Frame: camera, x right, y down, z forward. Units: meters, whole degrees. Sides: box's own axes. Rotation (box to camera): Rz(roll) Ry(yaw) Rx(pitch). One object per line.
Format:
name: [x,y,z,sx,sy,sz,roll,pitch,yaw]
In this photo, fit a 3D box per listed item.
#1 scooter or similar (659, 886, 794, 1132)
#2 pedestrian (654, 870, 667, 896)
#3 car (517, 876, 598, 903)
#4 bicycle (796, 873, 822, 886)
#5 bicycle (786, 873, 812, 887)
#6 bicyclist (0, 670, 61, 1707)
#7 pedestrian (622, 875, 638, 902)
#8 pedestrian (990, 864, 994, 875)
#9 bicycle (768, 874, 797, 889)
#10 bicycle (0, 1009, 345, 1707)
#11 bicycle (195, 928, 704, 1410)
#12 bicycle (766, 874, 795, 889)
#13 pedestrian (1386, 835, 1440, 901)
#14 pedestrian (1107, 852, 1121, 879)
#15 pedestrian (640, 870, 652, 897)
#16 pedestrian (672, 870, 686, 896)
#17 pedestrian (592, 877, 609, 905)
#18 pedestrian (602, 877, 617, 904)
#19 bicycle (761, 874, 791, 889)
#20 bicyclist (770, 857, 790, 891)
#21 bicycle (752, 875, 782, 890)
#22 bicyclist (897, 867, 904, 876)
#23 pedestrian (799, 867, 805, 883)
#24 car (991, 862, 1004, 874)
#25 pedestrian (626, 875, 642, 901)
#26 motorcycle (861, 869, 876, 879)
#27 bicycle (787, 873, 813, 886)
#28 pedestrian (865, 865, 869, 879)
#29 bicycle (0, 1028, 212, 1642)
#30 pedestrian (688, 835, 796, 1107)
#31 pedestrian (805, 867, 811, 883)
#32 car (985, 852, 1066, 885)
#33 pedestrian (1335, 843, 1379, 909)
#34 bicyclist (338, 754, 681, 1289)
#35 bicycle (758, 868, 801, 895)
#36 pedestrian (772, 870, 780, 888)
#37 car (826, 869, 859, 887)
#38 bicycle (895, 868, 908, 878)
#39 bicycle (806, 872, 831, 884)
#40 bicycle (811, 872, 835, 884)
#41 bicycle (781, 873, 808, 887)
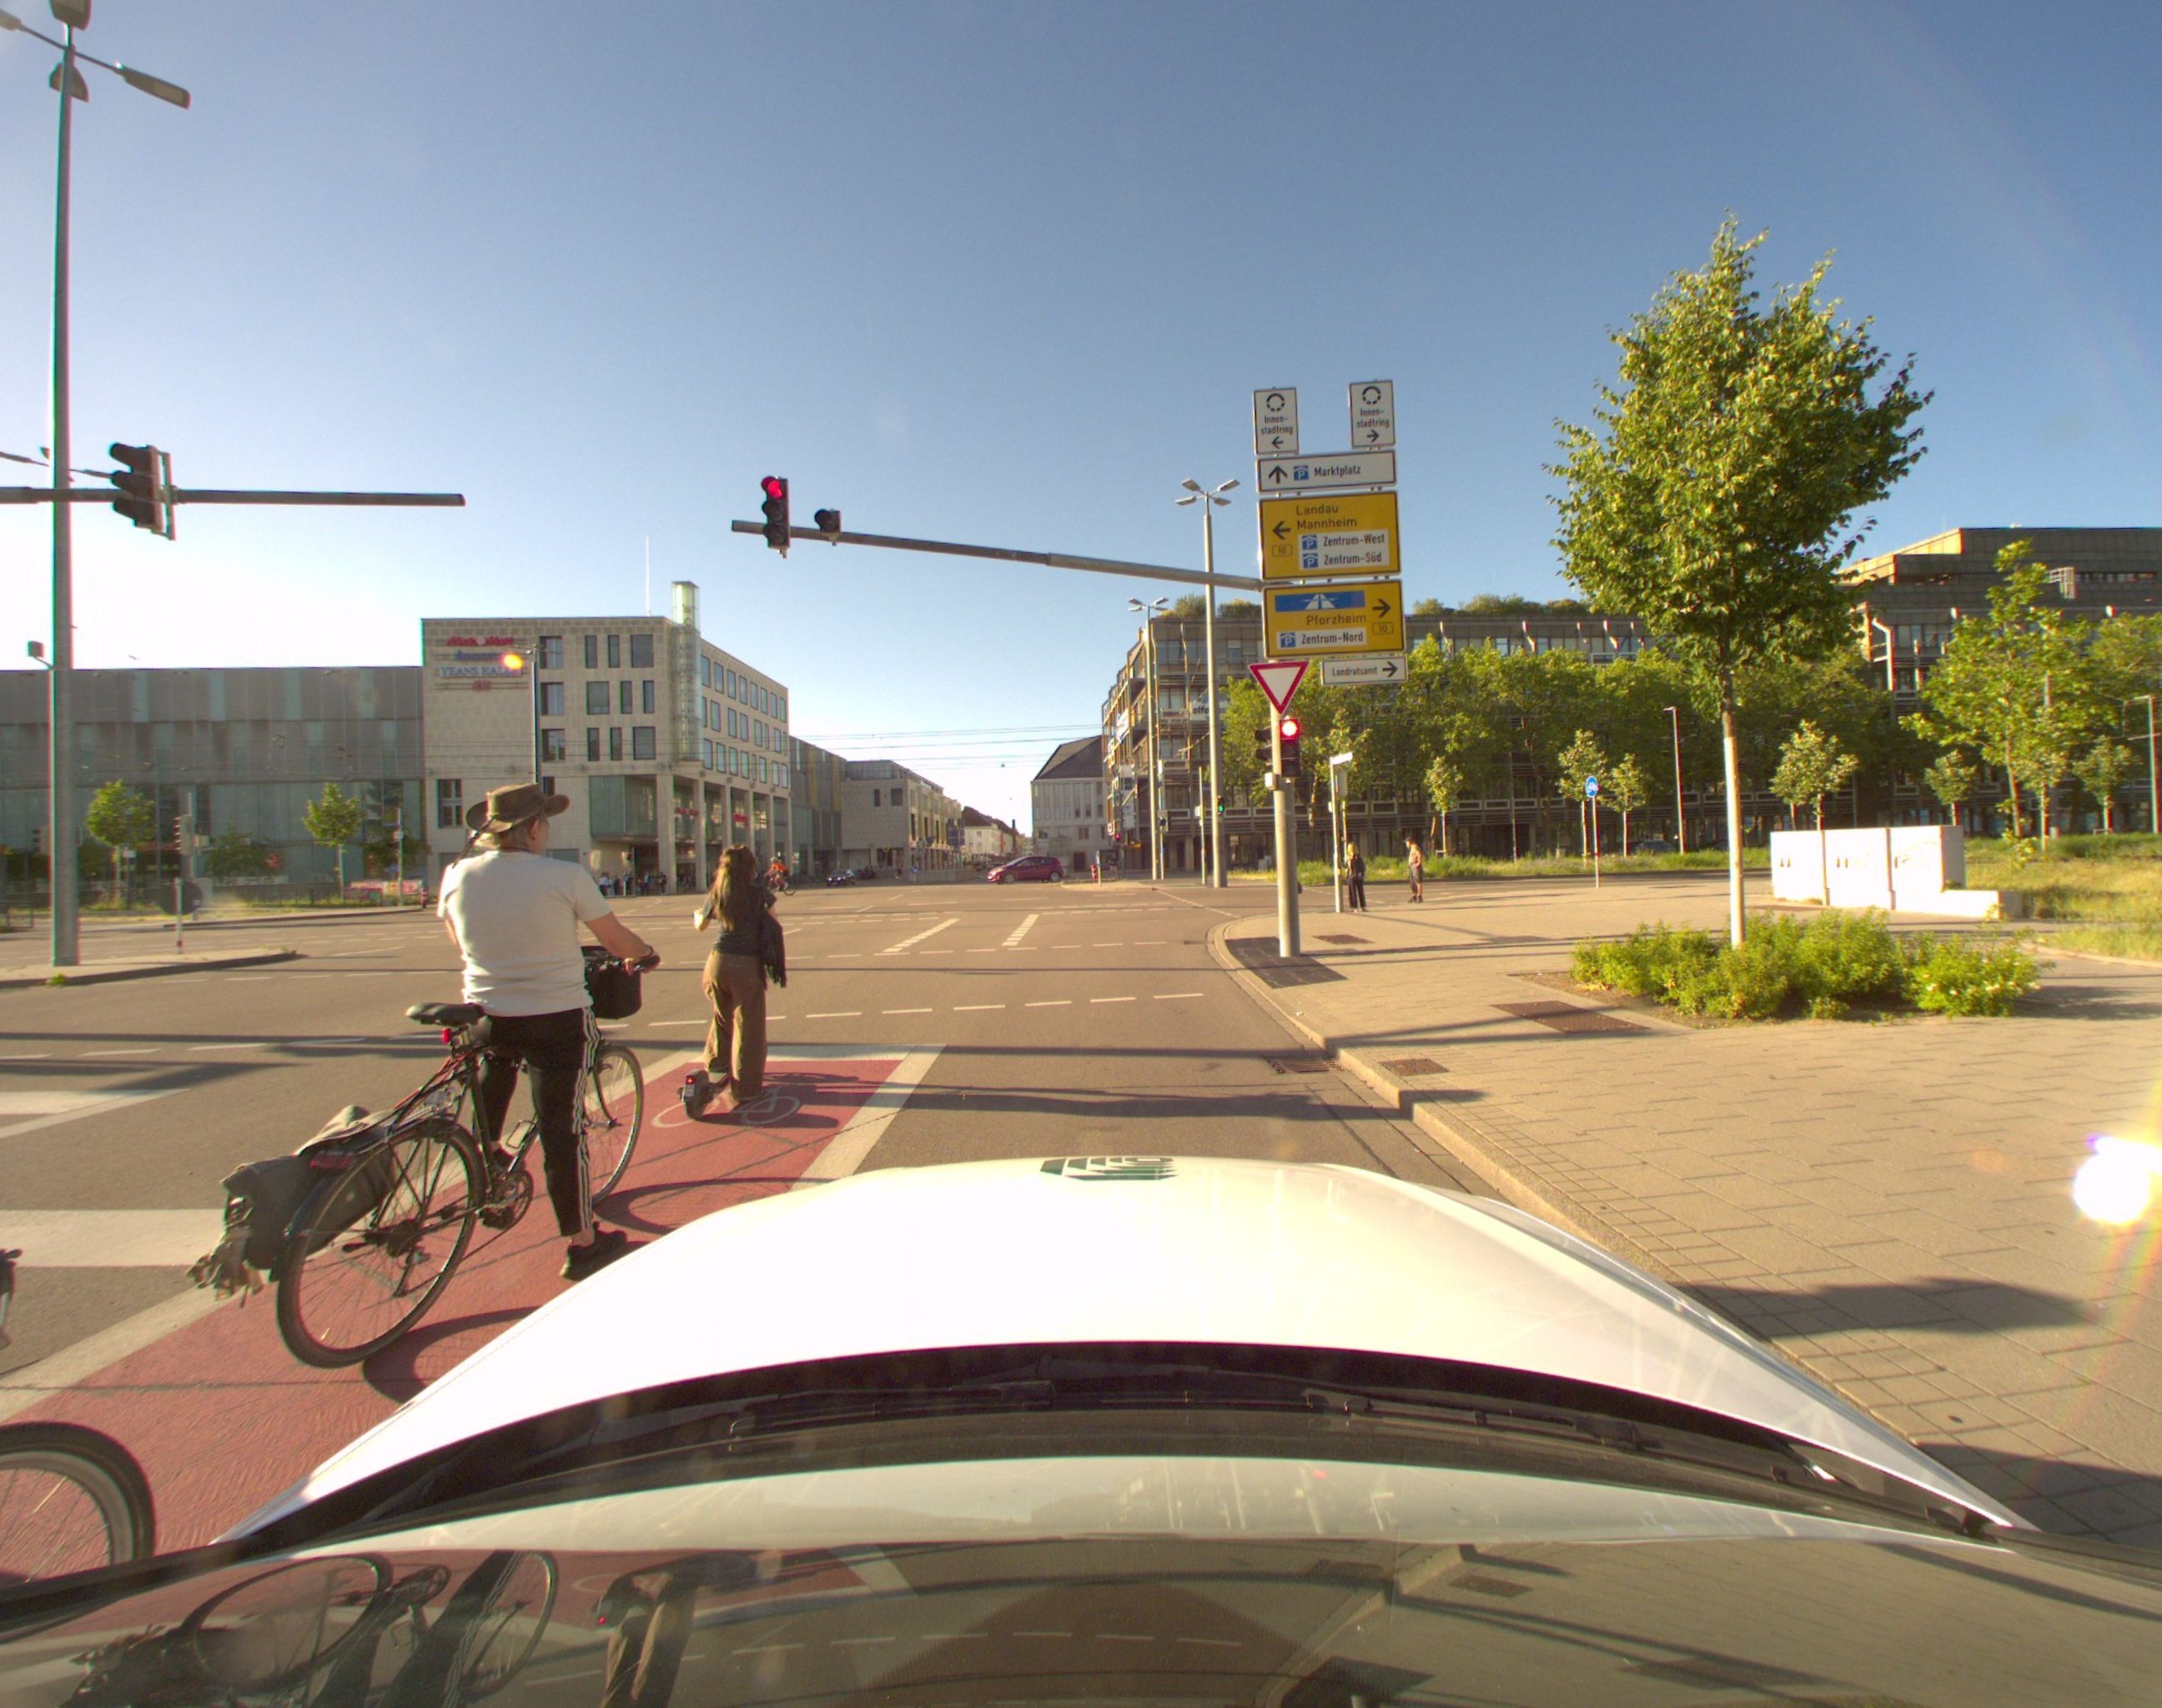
scooter or similar: [-2.158,0.870,5.077,0.547,1.294,1.188,0,-1,-13]
pedestrian: [-30.793,2.114,59.668,0.800,1.843,0.856,-2,0,-26]
car: [-32.302,2.176,50.341,3.892,1.585,1.656,0,-1,-5]
bicycle: [-27.186,2.505,81.346,2.299,1.222,0.612,-2,-1,-1]
bicycle: [-27.064,2.478,78.134,2.299,1.222,0.612,-2,-1,-1]
bicyclist: [-1.704,0.555,0.662,0.639,1.579,0.875,0,0,-1]
pedestrian: [-31.947,2.447,57.694,0.783,1.885,0.716,0,-1,-4]
pedestrian: [-12.849,2.234,117.837,0.520,1.679,0.582,0,0,-5]
bicycle: [-26.741,2.432,72.899,2.299,1.222,0.612,-2,-1,-1]
bicycle: [-1.707,0.909,0.632,0.614,1.218,1.831,0,0,-1]
bicycle: [-2.149,0.943,3.140,0.483,1.156,1.832,0,-1,2]
bicycle: [-26.566,2.423,72.014,2.299,1.222,0.612,-2,-1,-1]
pedestrian: [8.568,0.348,21.023,0.880,1.665,0.959,0,-1,-16]
pedestrian: [2.334,0.813,57.733,0.793,1.890,0.637,0,-1,-32]
pedestrian: [-31.065,2.102,58.167,0.718,1.885,0.781,0,-1,-25]
pedestrian: [-29.107,2.062,58.942,0.801,1.843,0.855,-2,0,-30]
pedestrian: [-33.869,2.609,57.376,0.783,1.885,0.716,0,-1,-4]
pedestrian: [-33.992,2.621,58.722,0.714,1.885,0.786,0,-1,-6]
bicycle: [-26.463,2.412,70.654,2.299,1.222,0.612,-2,-1,-1]
bicyclist: [-13.005,0.857,35.163,0.716,1.437,0.491,0,-1,-36]
bicycle: [-26.734,2.403,69.377,2.299,1.222,0.612,-2,-1,-1]
bicyclist: [-22.126,2.157,99.967,0.505,1.084,0.629,0,0,32]
pedestrian: [-30.169,2.281,88.075,0.570,1.679,0.614,0,0,-8]
car: [-11.138,1.853,108.658,1.735,1.531,3.848,0,-1,-5]
pedestrian: [-32.513,2.464,59.246,0.783,1.885,0.716,0,-1,-4]
motorcycle: [-25.782,2.425,98.741,1.807,1.206,0.509,0,0,-14]
bicycle: [-27.630,2.498,80.129,2.299,1.222,0.612,-2,-1,-1]
pedestrian: [-26.102,2.186,99.358,0.521,1.679,0.580,0,0,-12]
bicycle: [-2.423,0.982,0.982,0.645,1.109,1.970,0,0,-1]
pedestrian: [-2.164,0.706,5.245,0.549,1.633,0.569,0,-1,-13]
pedestrian: [-29.599,2.265,88.230,0.553,1.679,0.606,0,0,-8]
car: [-2.931,0.733,42.749,3.901,1.585,1.647,-2,-1,-23]
pedestrian: [6.308,0.500,18.657,0.785,1.492,0.644,0,-1,1]
bicyclist: [-2.057,0.543,3.063,0.658,1.720,0.866,0,-1,1]
bicycle: [-13.012,1.177,35.142,1.657,1.154,0.491,0,-1,-36]
pedestrian: [-30.124,2.474,80.393,0.447,1.719,0.651,-2,0,5]
car: [-20.625,2.046,70.510,1.625,1.342,3.999,-4,-1,0]
bicycle: [-22.051,2.357,100.069,0.505,1.206,1.822,0,0,31]
bicycle: [-27.588,2.543,85.584,2.299,1.222,0.612,-2,-1,-1]
bicycle: [-27.424,2.550,86.649,2.299,1.222,0.612,-2,-1,-1]
bicycle: [-26.697,2.457,75.966,2.299,1.222,0.612,-2,-1,-1]
